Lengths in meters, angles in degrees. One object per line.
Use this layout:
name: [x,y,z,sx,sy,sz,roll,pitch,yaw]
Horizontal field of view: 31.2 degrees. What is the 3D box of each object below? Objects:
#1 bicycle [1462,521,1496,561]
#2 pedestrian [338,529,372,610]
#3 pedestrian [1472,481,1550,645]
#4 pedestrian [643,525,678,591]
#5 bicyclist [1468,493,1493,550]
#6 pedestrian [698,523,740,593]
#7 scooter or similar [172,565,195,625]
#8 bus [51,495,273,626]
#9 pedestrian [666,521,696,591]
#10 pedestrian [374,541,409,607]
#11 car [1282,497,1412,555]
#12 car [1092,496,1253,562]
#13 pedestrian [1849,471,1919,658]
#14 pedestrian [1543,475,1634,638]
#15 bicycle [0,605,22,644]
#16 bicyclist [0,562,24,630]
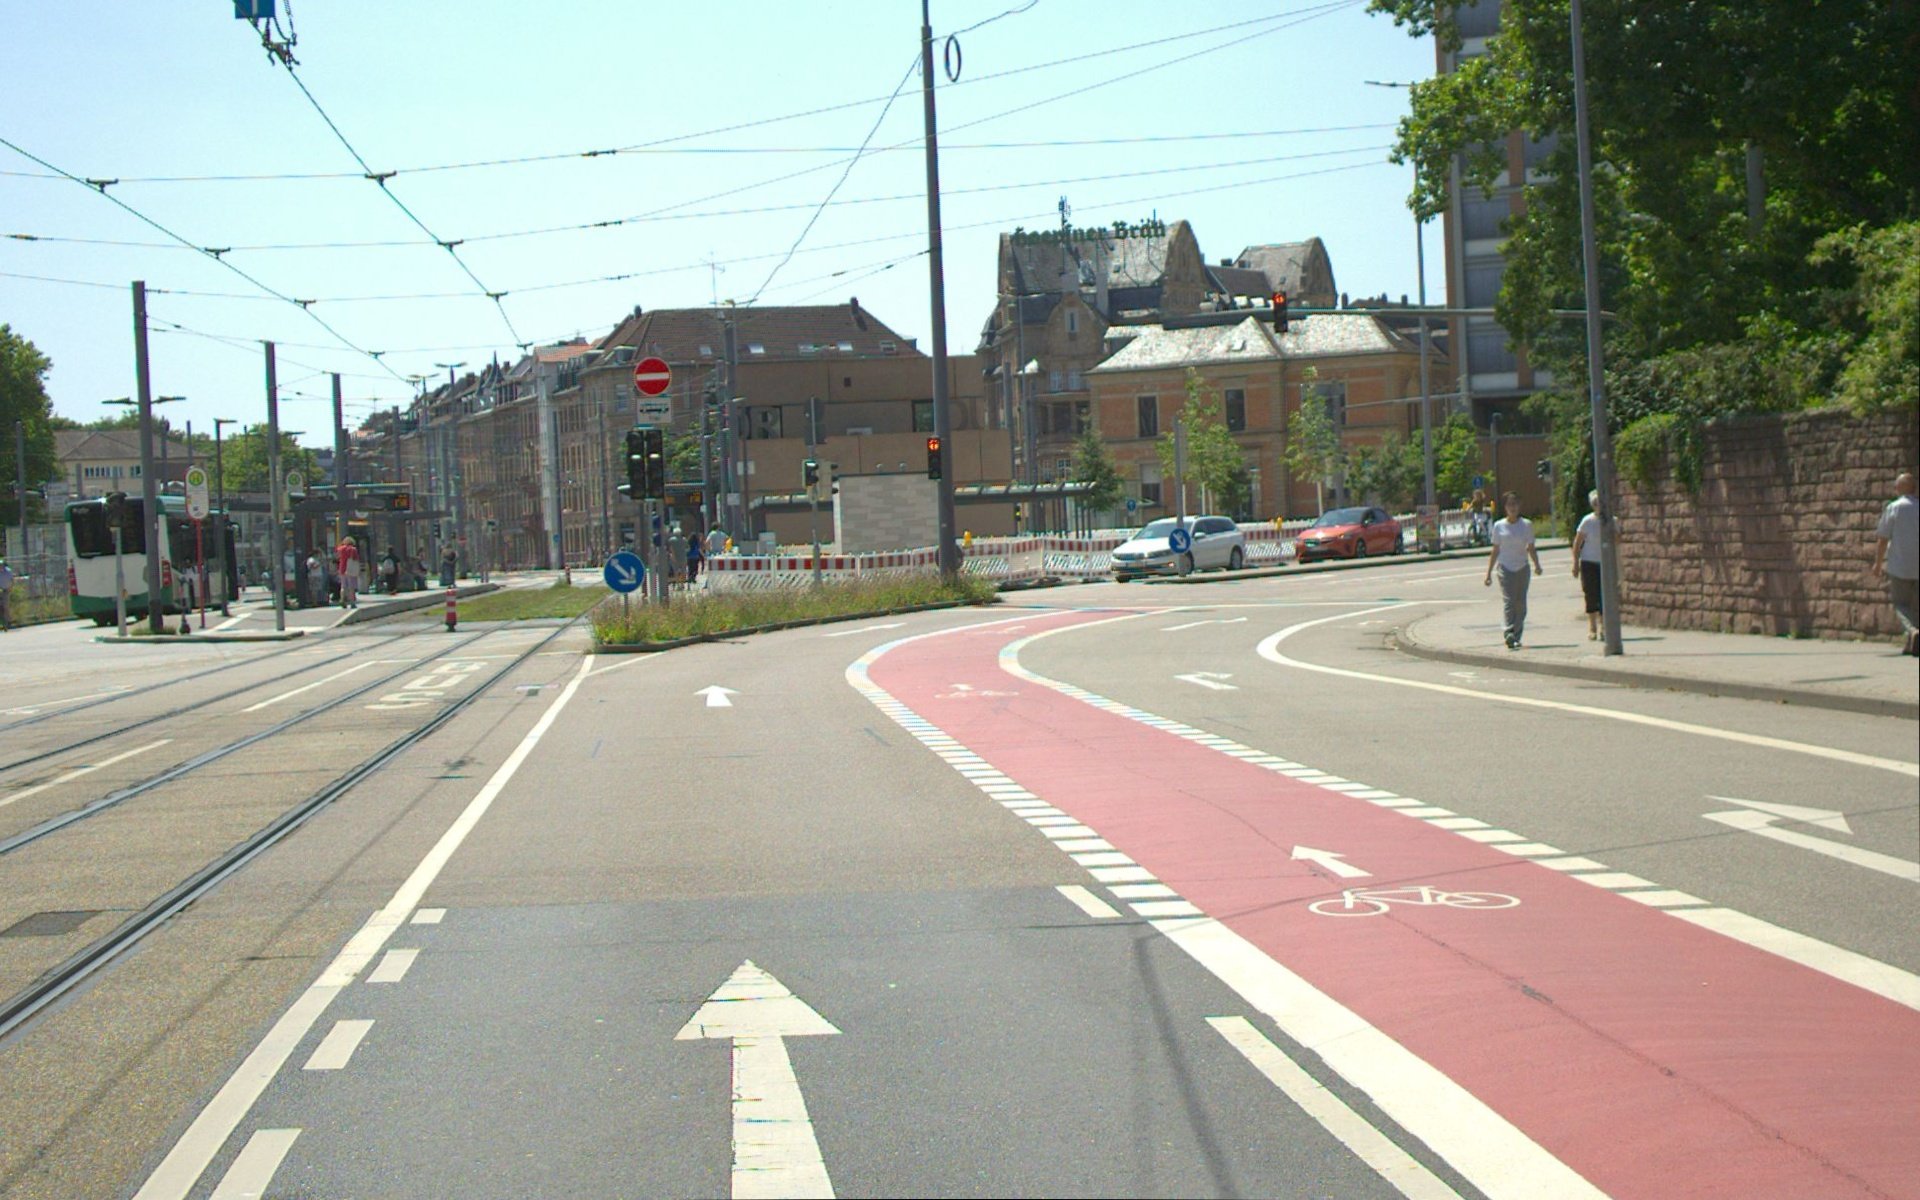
bicycle: [15.806,-1.794,104.673,0.398,1.170,1.768,-3,-1,28]
pedestrian: [-14.590,-0.730,82.866,0.672,1.903,0.641,-3,1,-14]
pedestrian: [6.231,-0.425,38.925,0.677,1.801,0.748,-3,1,0]
pedestrian: [-7.806,-1.093,89.560,0.726,1.701,0.744,-2,0,-16]
bicyclist: [15.879,-2.402,104.892,0.568,1.713,0.506,-1,0,28]
pedestrian: [-6.489,-1.135,92.530,0.730,1.858,0.765,-2,0,45]
scooter or similar: [-15.819,-0.105,70.068,0.318,1.202,1.249,-3,1,-9]
bus: [-21.557,-1.144,94.073,3.010,3.147,17.501,-2,1,-4]
pedestrian: [-7.341,-1.167,90.547,0.657,1.825,0.760,-2,1,-11]
pedestrian: [-18.609,-0.861,112.619,0.899,2.089,0.831,-3,1,1]
car: [10.266,-1.969,91.032,1.734,1.420,4.116,-2,1,32]
car: [5.127,-1.715,82.394,1.996,1.433,4.698,-2,1,29]
pedestrian: [8.439,-0.326,30.906,0.660,1.641,0.624,-3,1,1]
pedestrian: [7.140,-0.501,39.083,0.814,1.801,0.700,-3,1,0]
bicycle: [-24.417,0.629,87.769,0.503,0.911,2.371,-3,1,-6]
bicyclist: [-24.449,-0.105,87.847,0.820,1.704,0.771,-3,1,-6]
